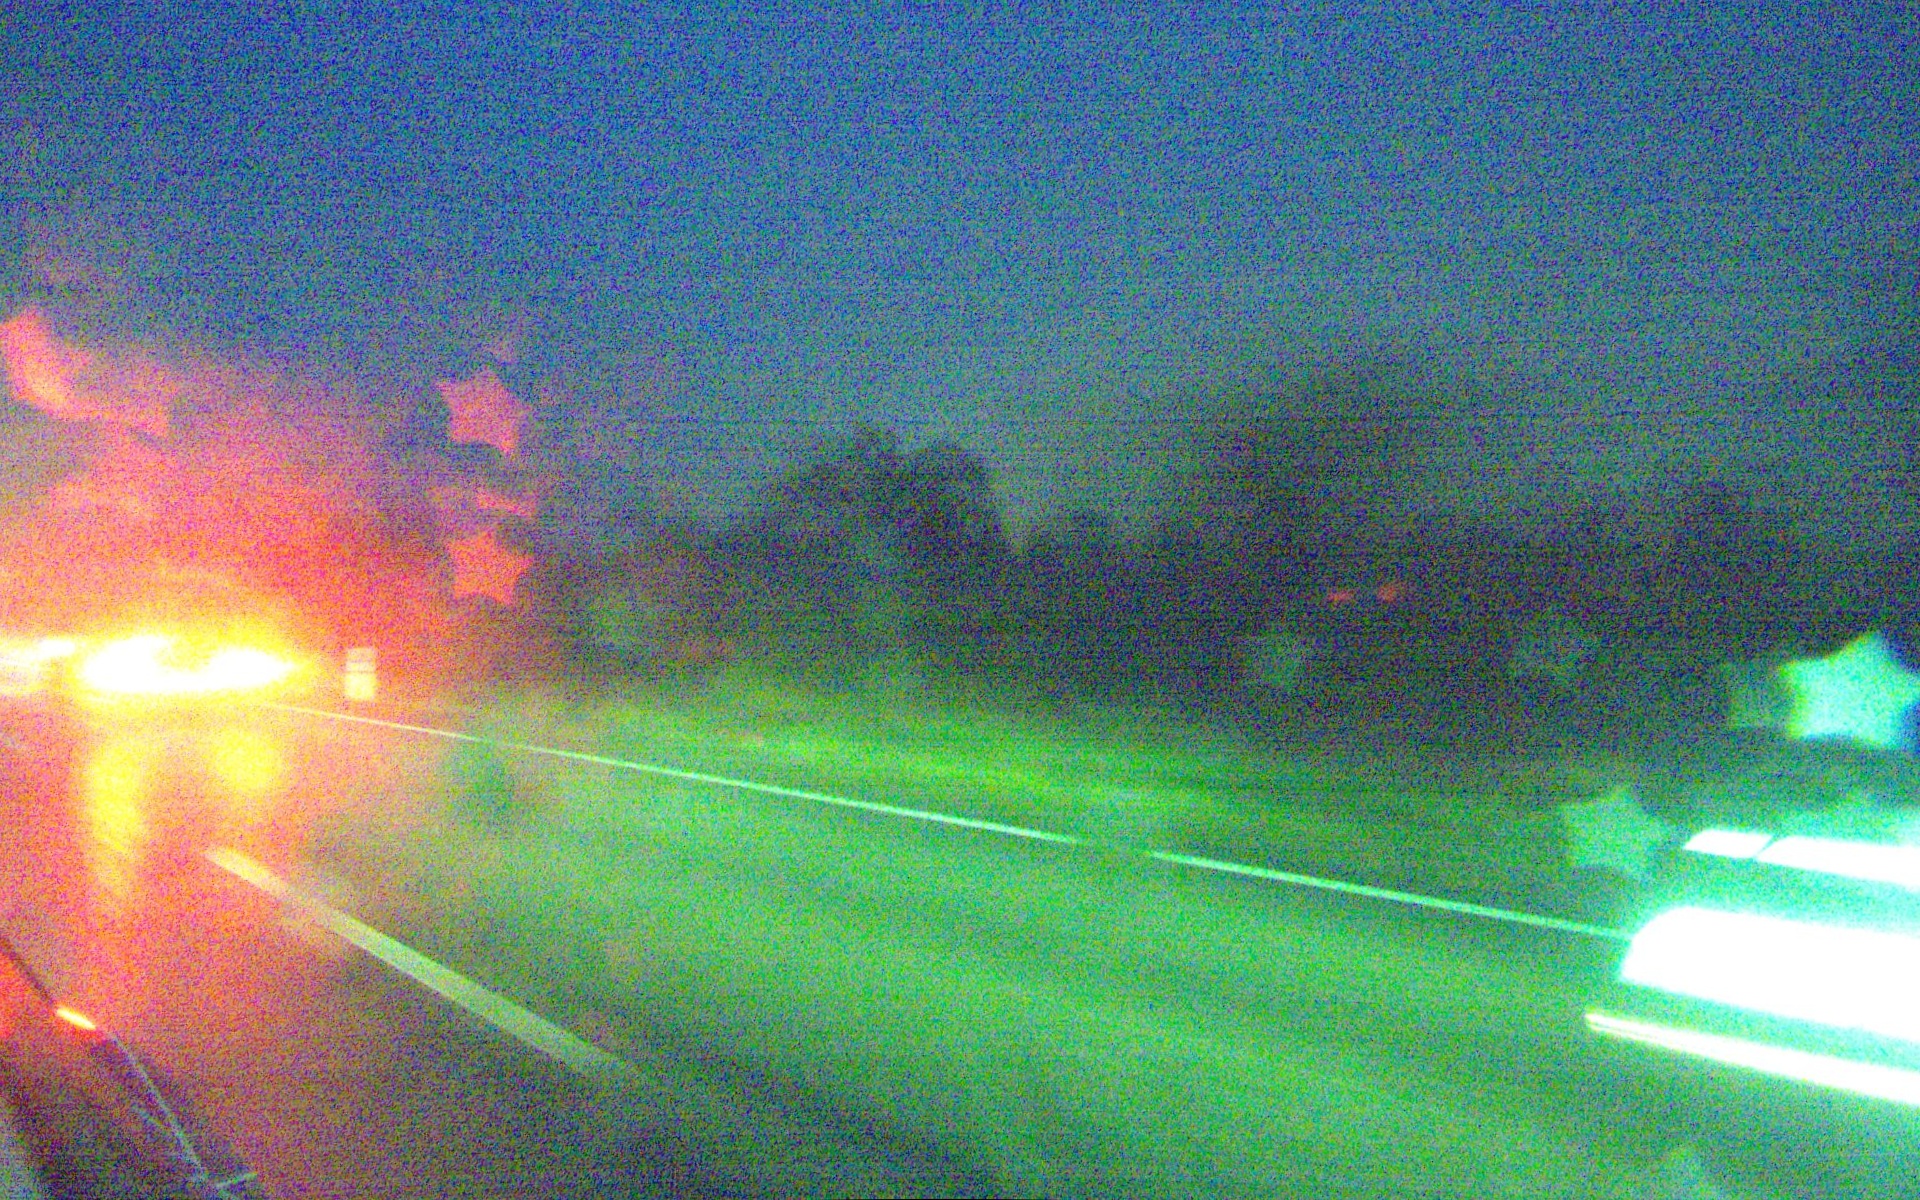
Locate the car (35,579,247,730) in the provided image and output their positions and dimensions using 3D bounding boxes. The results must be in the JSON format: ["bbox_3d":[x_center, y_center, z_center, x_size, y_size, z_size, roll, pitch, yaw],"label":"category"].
[{"bbox_3d":[-12.278,0.738,15.085,3.999,1.943,1.784,0,-2,42],"label":"car"}]
